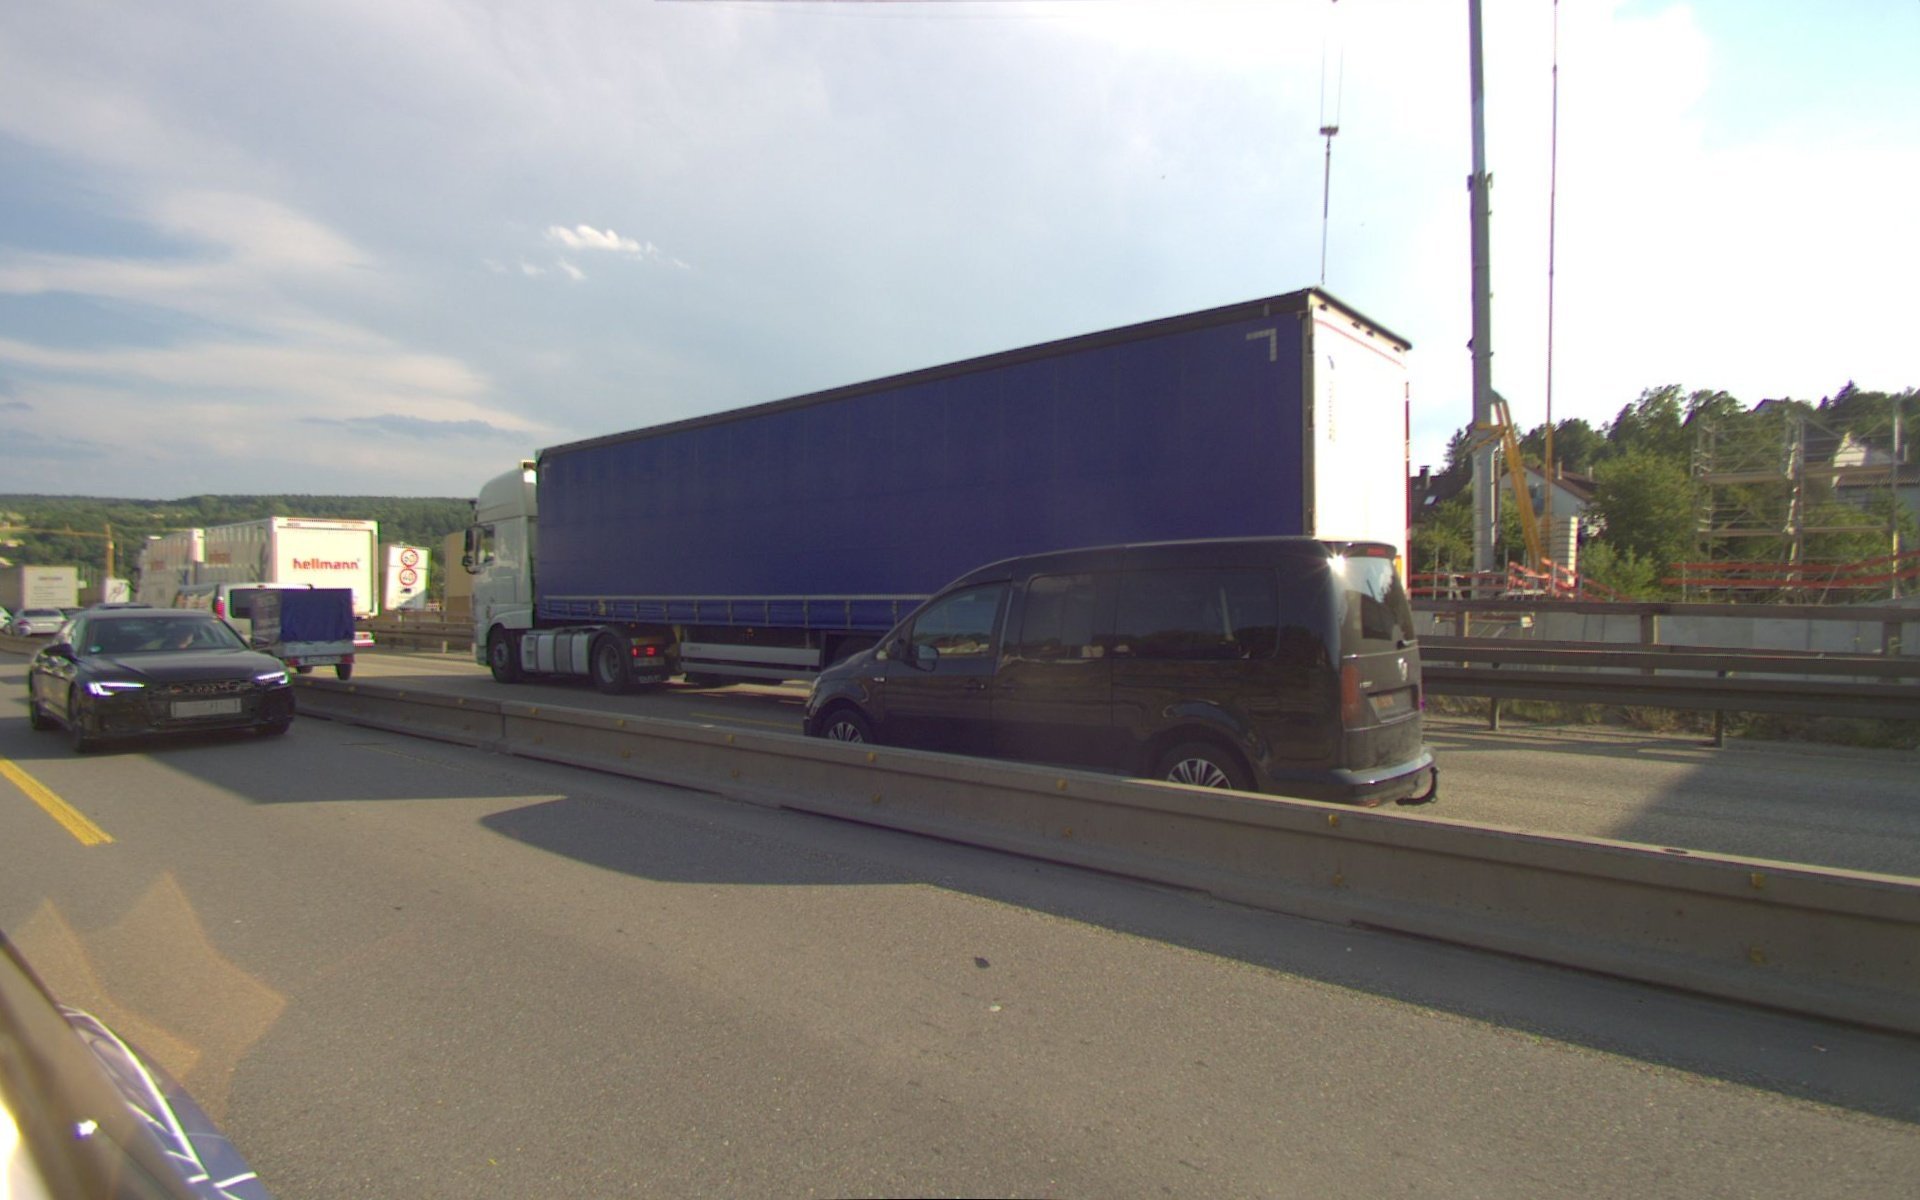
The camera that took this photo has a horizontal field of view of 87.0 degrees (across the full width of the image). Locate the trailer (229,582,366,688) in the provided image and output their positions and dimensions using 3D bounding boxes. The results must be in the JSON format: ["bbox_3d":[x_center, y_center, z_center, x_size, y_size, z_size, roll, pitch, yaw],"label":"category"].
[{"bbox_3d":[-12.703,0.616,19.351,2.983,1.868,1.433,-1,0,41],"label":"trailer"}]

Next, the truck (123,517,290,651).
[{"bbox_3d":[-27.611,-0.496,36.833,10.068,4.295,2.798,-1,0,41],"label":"truck"}]

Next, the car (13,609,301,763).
[{"bbox_3d":[-9.311,0.828,11.602,4.347,1.430,1.849,-1,-1,41],"label":"car"}]

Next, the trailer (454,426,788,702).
[{"bbox_3d":[-6.220,-0.531,18.090,6.220,4.067,2.895,-1,0,41],"label":"trailer"}]

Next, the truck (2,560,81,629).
[{"bbox_3d":[-57.772,-0.306,63.580,7.595,4.092,2.836,-1,0,41],"label":"truck"}]

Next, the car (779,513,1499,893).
[{"bbox_3d":[0.946,0.510,7.216,4.851,1.857,1.762,-1,0,41],"label":"car"}]

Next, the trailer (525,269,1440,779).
[{"bbox_3d":[-1.251,-0.577,13.728,13.768,4.067,2.895,-1,0,41],"label":"trailer"}]

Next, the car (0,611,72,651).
[{"bbox_3d":[-38.124,1.251,41.628,3.998,1.519,1.864,-1,0,41],"label":"car"}]

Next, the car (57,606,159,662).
[{"bbox_3d":[-26.334,0.992,31.233,3.998,1.586,1.837,-1,0,41],"label":"car"}]

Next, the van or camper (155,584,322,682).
[{"bbox_3d":[-15.748,0.644,21.982,5.001,1.906,1.844,-1,0,41],"label":"van or camper"}]

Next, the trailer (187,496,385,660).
[{"bbox_3d":[-20.536,-0.560,30.582,8.732,4.315,2.798,-1,0,41],"label":"trailer"}]
